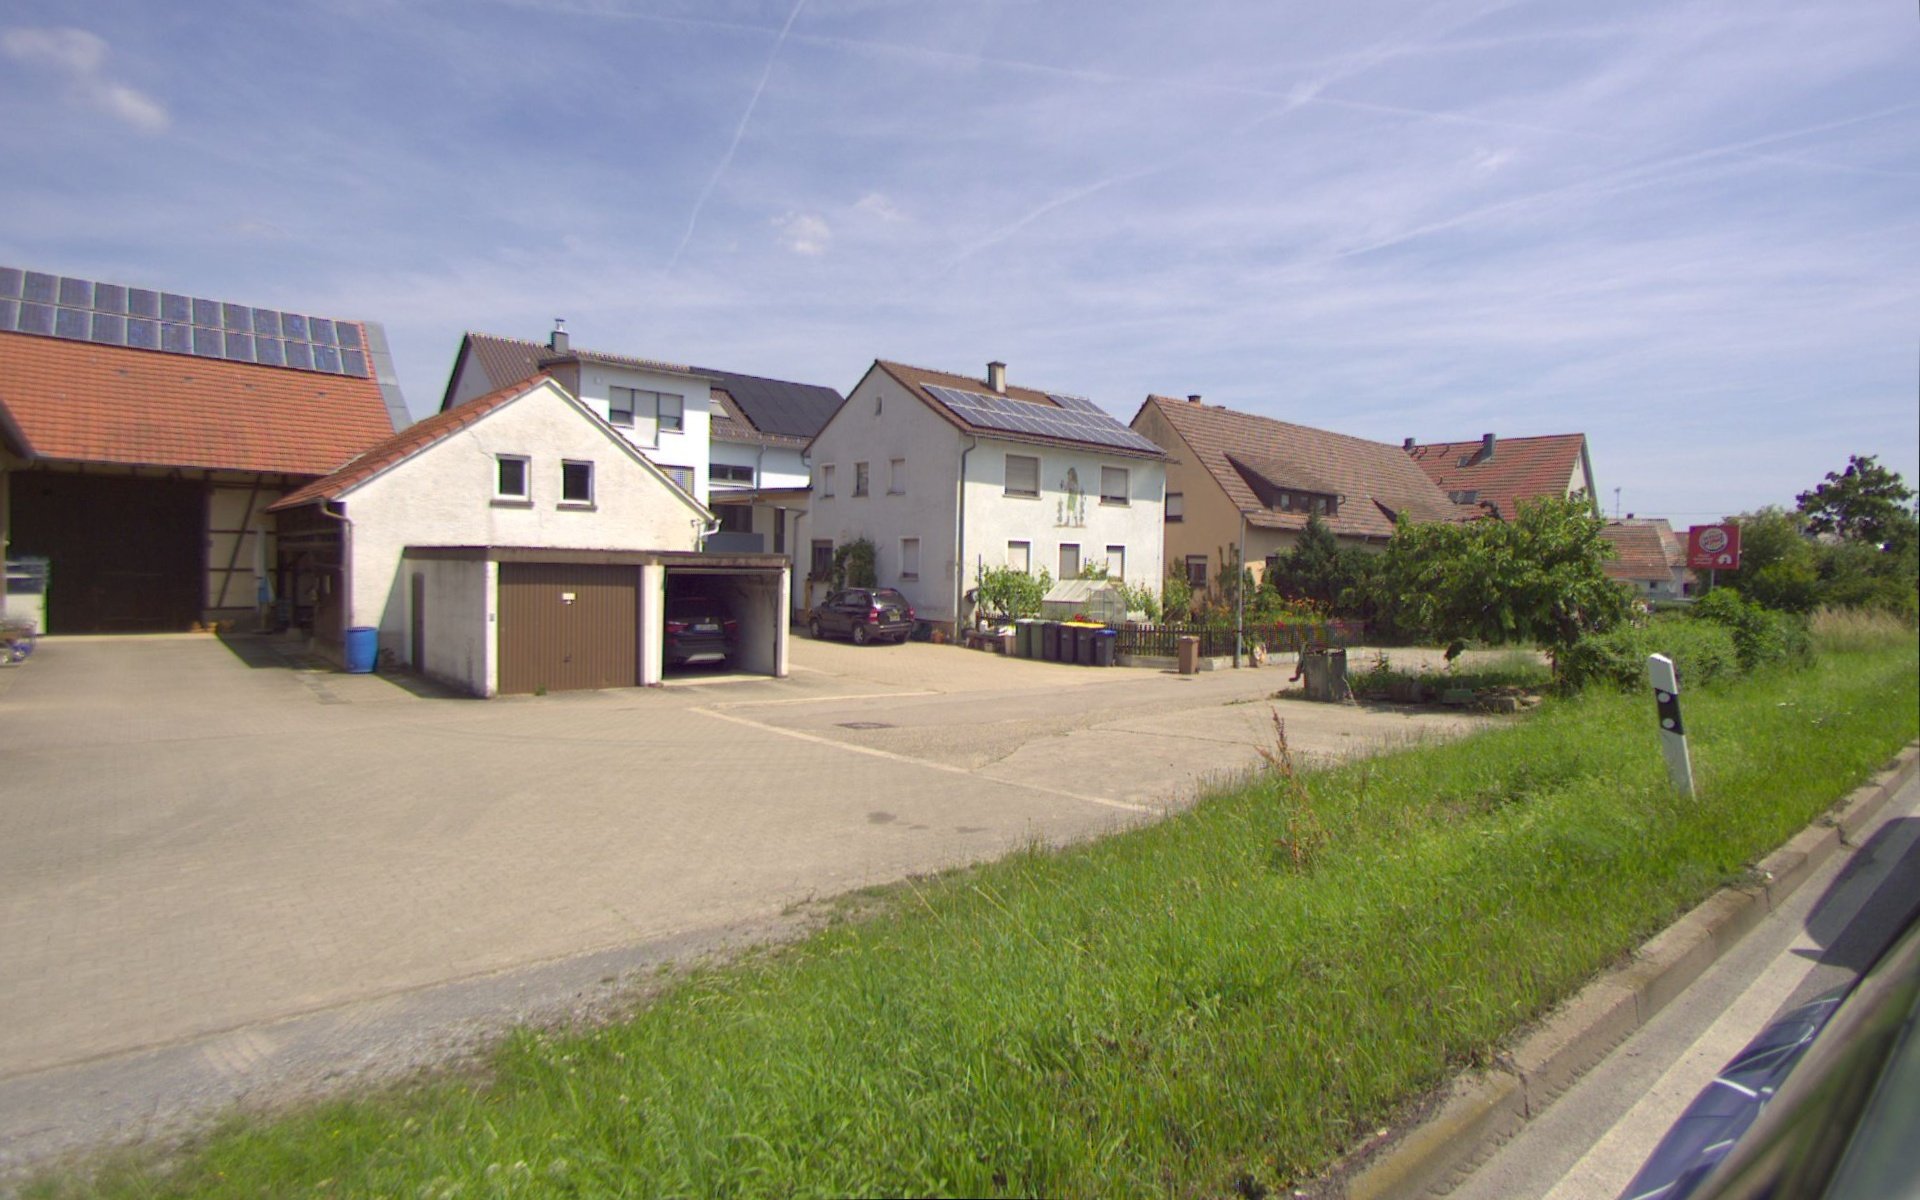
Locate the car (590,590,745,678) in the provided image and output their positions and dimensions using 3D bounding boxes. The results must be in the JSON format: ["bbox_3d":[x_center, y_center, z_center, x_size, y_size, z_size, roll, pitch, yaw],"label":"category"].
[{"bbox_3d":[-6.412,0.640,21.909,1.802,1.597,3.996,-1,2,-40],"label":"car"}]

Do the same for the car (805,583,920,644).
[{"bbox_3d":[-3.164,0.367,32.267,1.810,1.714,3.959,-1,3,-38],"label":"car"}]
